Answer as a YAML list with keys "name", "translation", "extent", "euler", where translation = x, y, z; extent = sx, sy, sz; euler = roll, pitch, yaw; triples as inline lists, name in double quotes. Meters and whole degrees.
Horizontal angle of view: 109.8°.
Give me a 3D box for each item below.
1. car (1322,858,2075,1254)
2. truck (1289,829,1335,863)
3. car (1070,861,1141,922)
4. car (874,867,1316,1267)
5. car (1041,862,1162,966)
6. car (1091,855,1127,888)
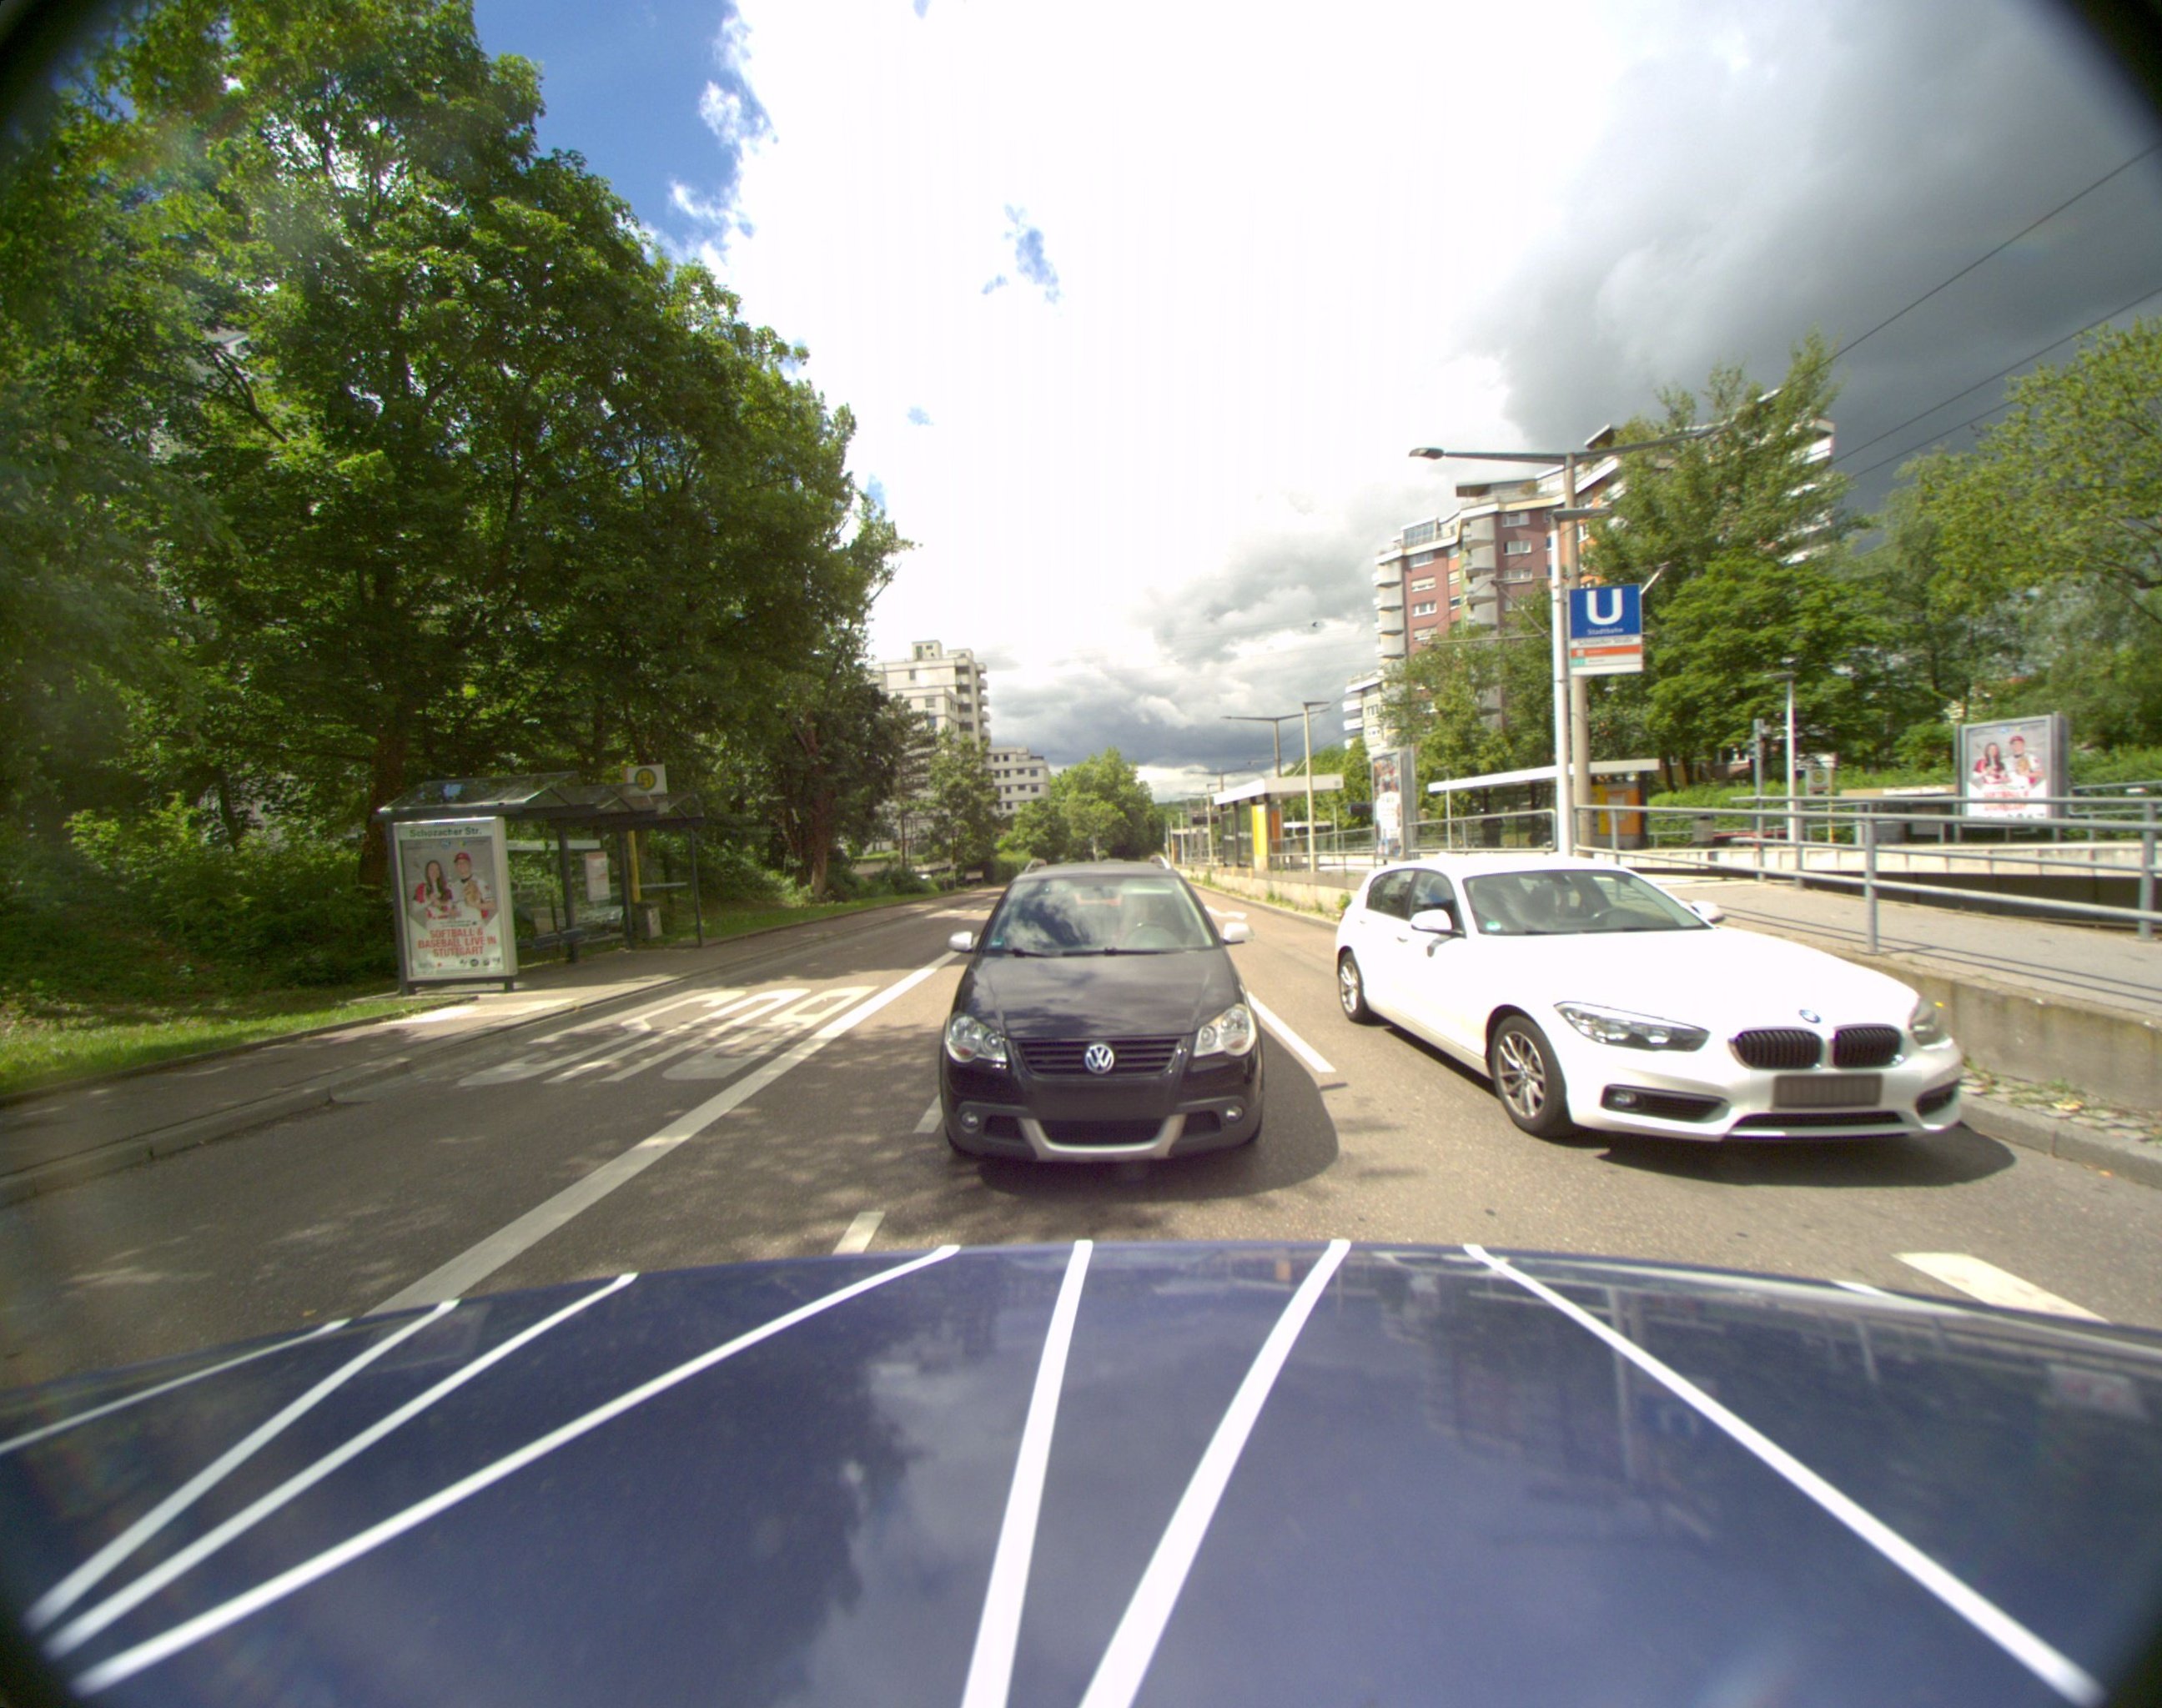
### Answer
- name: "car"
  translation: [3.079, 0.818, 5.008]
  extent: [1.732, 1.453, 4.000]
  euler: [-2, 1, 1]
- name: "truck"
  translation: [22.884, -0.735, 75.653]
  extent: [2.420, 3.203, 7.263]
  euler: [-2, 0, 1]
- name: "car"
  translation: [0.726, 0.952, 21.030]
  extent: [1.732, 1.452, 4.001]
  euler: [-2, 0, 3]
- name: "car"
  translation: [0.096, 0.907, 5.083]
  extent: [1.732, 1.501, 4.000]
  euler: [-2, 0, 1]
- name: "car"
  translation: [0.345, 0.908, 13.263]
  extent: [1.732, 1.453, 4.000]
  euler: [-2, 0, 1]
- name: "car"
  translation: [1.421, 0.851, 39.553]
  extent: [1.732, 1.505, 4.000]
  euler: [-2, 1, 1]
